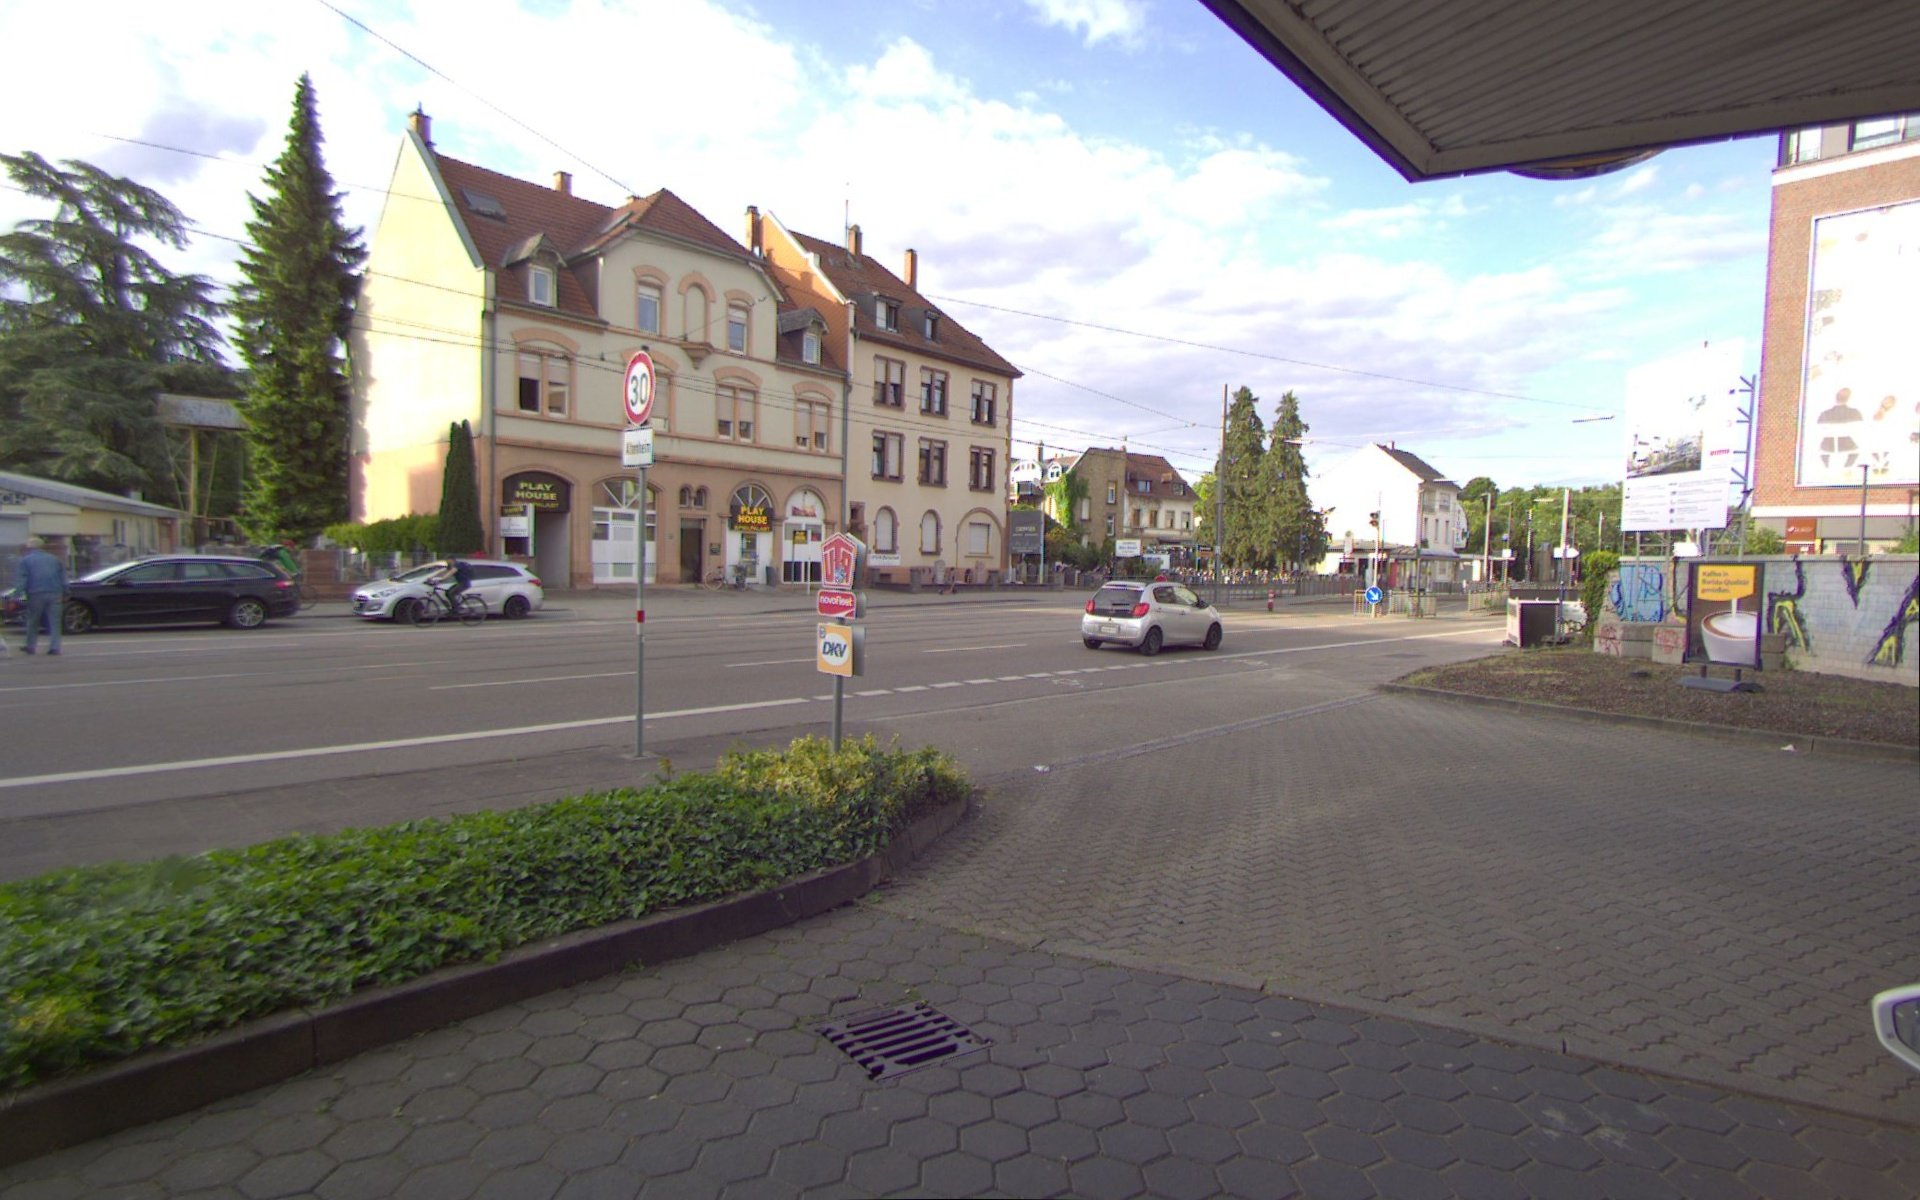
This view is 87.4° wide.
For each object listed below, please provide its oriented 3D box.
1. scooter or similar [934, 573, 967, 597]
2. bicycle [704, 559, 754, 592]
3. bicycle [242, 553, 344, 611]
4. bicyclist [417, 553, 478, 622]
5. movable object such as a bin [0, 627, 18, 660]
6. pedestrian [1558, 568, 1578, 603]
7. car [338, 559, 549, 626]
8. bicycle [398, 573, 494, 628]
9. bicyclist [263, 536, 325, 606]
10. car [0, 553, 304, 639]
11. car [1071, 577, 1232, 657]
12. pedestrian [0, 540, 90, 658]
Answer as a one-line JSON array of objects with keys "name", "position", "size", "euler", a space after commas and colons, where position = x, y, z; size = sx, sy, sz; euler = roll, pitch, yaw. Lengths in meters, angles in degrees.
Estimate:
[{"name": "scooter or similar", "position": [-0.430, -0.669, 45.111], "size": [0.461, 1.041, 1.655], "euler": [4, 3, 40]}, {"name": "bicycle", "position": [-9.101, -0.959, 39.610], "size": [0.665, 1.229, 1.862], "euler": [4, 2, 41]}, {"name": "bicycle", "position": [-16.371, -0.444, 24.691], "size": [0.852, 1.329, 1.912], "euler": [6, 4, 36]}, {"name": "bicyclist", "position": [-12.027, -0.299, 23.568], "size": [0.669, 1.555, 1.082], "euler": [1, 2, 35]}, {"name": "movable object such as a bin", "position": [-13.698, 0.612, 14.129], "size": [0.668, 0.426, 0.480], "euler": [3, 2, 31]}, {"name": "pedestrian", "position": [35.871, -0.867, 59.256], "size": [0.797, 2.040, 0.845], "euler": [2, 0, 44]}, {"name": "car", "position": [-12.915, -0.240, 25.356], "size": [1.699, 1.503, 4.434], "euler": [4, 4, 40]}, {"name": "bicycle", "position": [-12.035, -0.004, 23.573], "size": [0.669, 1.239, 1.913], "euler": [1, 2, 34]}, {"name": "bicyclist", "position": [-16.350, -0.717, 24.670], "size": [0.852, 1.627, 1.025], "euler": [6, 4, 36]}, {"name": "car", "position": [-16.596, -0.144, 20.735], "size": [1.983, 1.520, 4.755], "euler": [4, 4, 39]}, {"name": "car", "position": [4.040, 0.299, 20.976], "size": [1.667, 1.452, 3.406], "euler": [5, 4, 44]}, {"name": "pedestrian", "position": [-13.631, -0.033, 14.931], "size": [0.995, 1.690, 0.960], "euler": [0, 3, -39]}]
